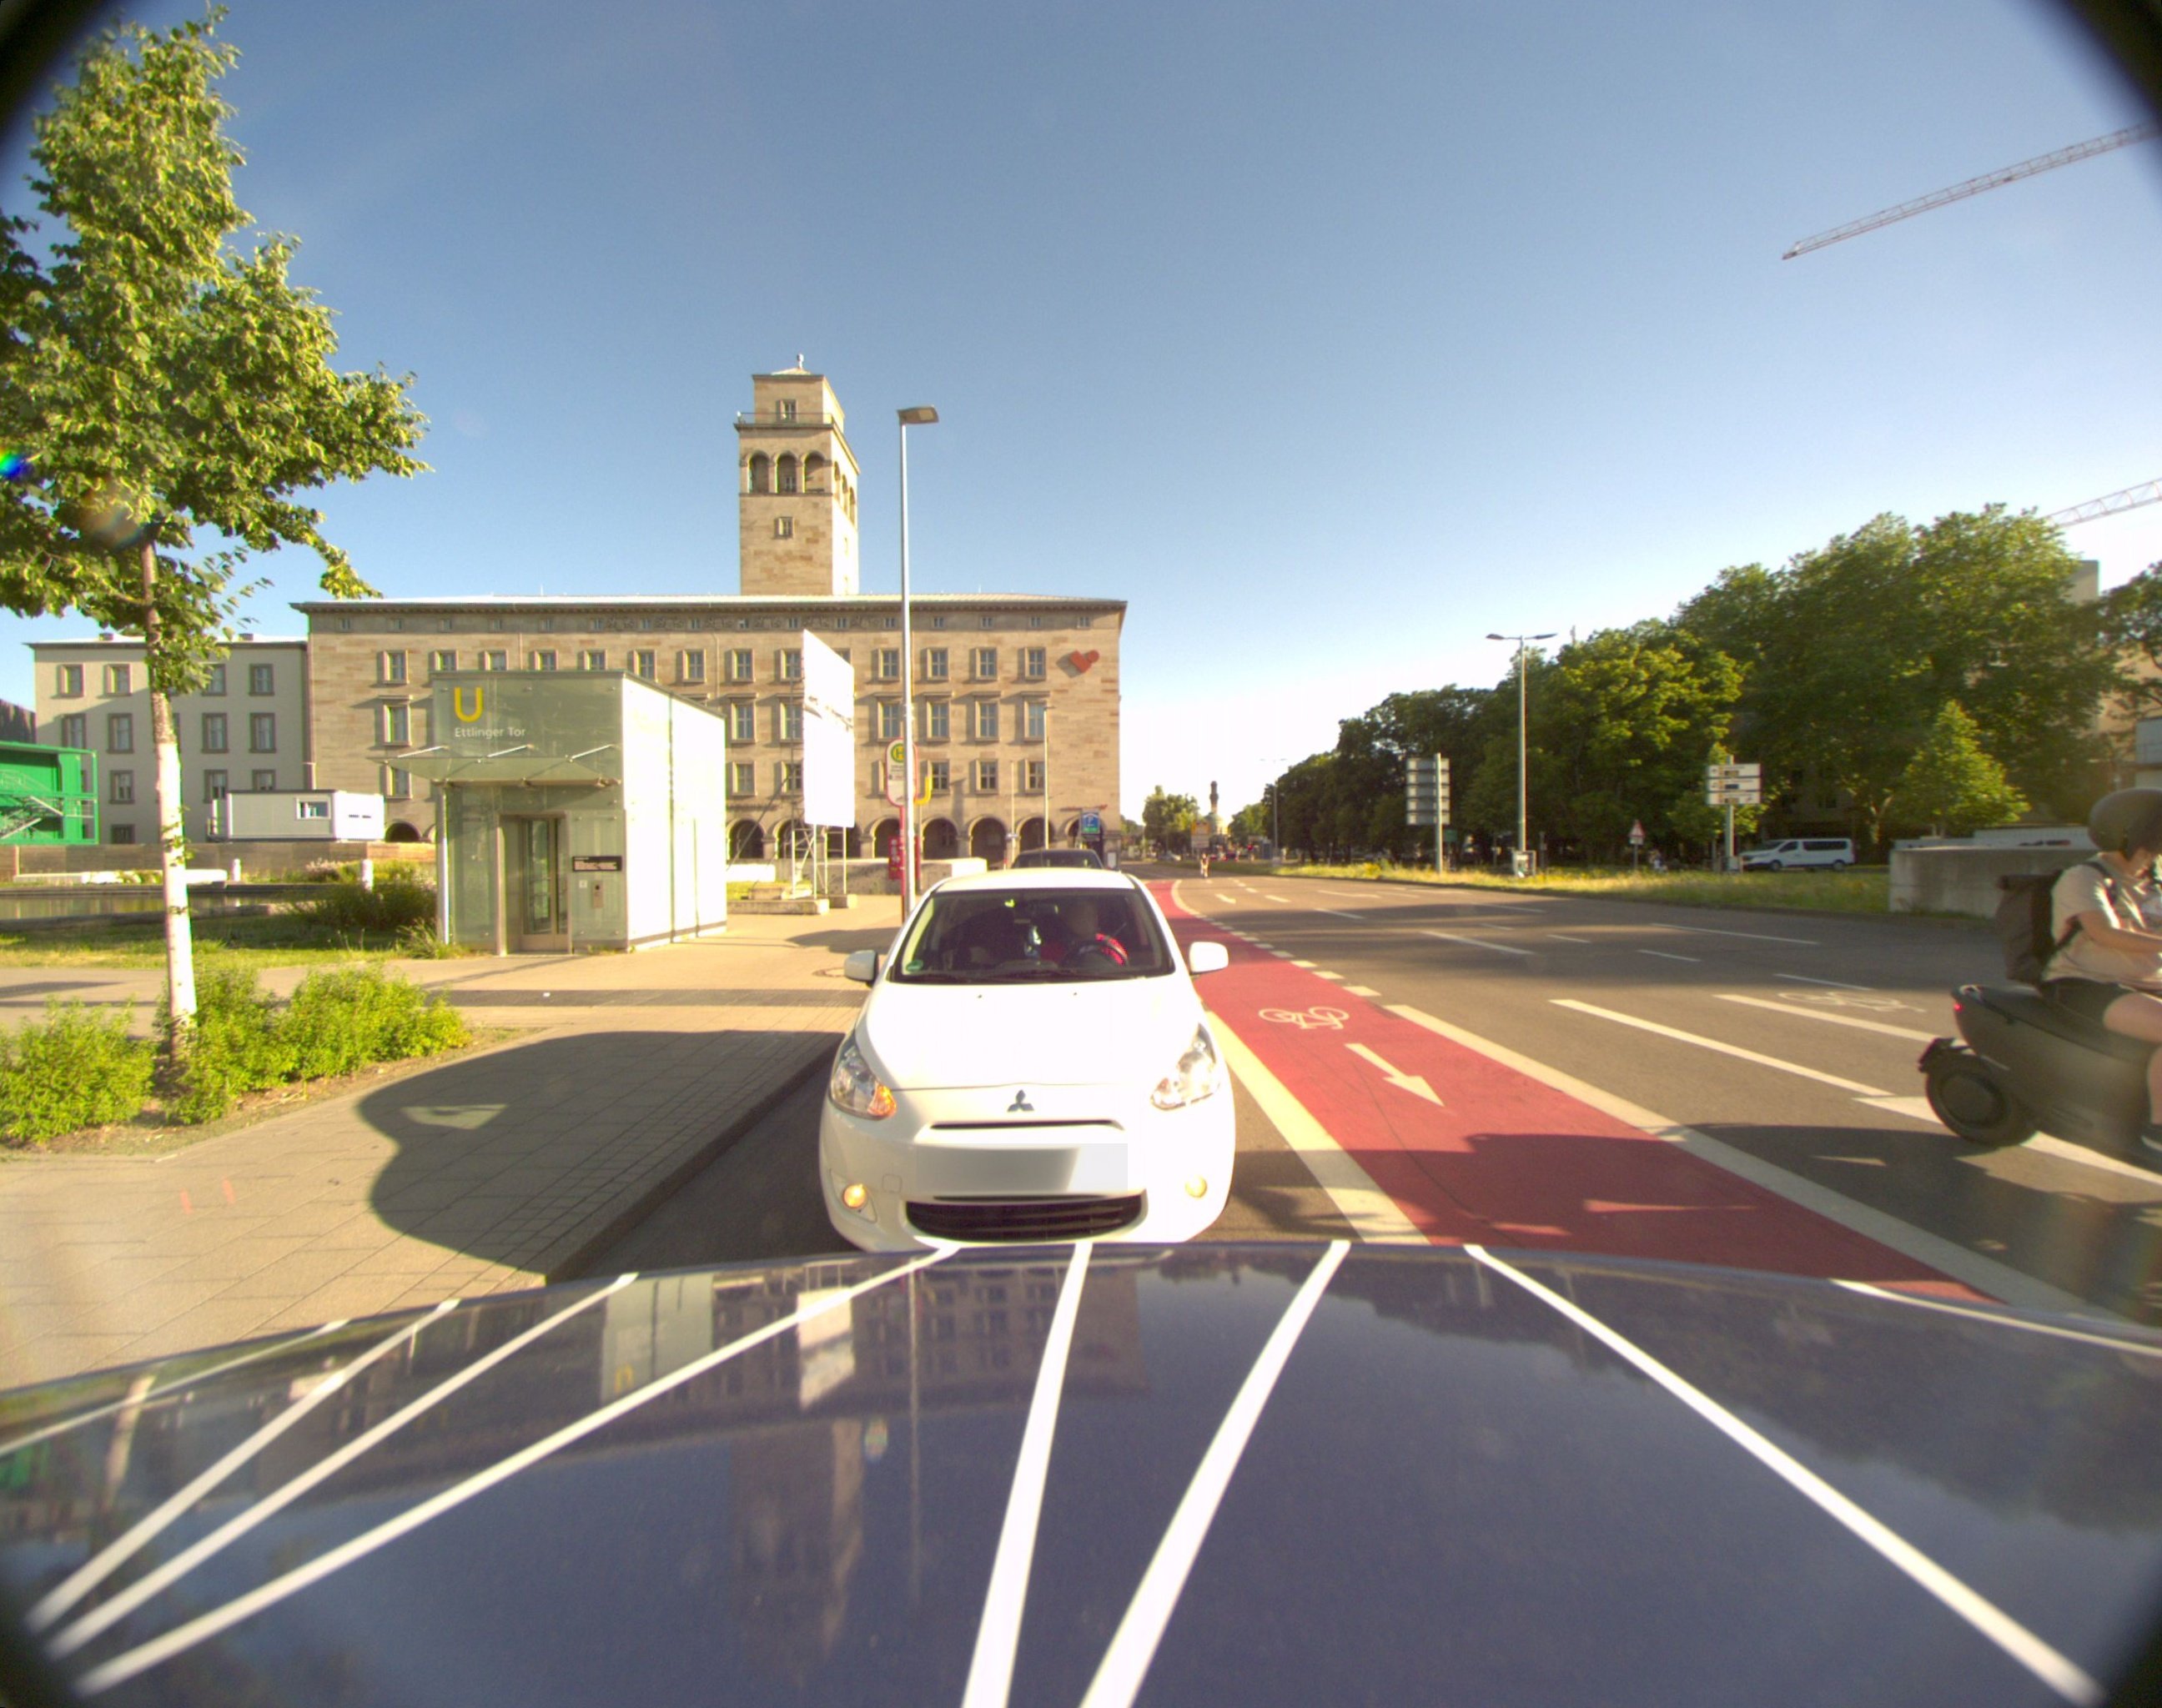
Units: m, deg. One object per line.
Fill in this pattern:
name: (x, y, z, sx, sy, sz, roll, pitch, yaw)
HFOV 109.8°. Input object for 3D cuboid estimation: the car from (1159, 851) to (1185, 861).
car: (17.532, 0.447, 146.365, 4.573, 1.827, 1.881, -2, 1, 42)

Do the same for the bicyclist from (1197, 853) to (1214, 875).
bicyclist: (7.880, 0.625, 48.126, 0.854, 1.340, 0.829, -2, 1, 1)

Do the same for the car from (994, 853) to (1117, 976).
car: (-0.375, 0.839, 12.518, 1.642, 1.653, 3.849, -2, 0, -1)

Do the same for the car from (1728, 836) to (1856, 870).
car: (42.130, -0.054, 45.111, 5.516, 1.924, 2.065, -1, 1, 2)

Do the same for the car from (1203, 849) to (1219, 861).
car: (20.581, 0.108, 120.440, 1.747, 1.778, 3.947, -2, 1, 1)

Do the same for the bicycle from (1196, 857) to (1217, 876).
bicycle: (7.906, 0.759, 47.910, 0.854, 1.109, 2.808, -2, 0, 1)

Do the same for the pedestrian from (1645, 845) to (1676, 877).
pedestrian: (33.625, 0.381, 44.074, 0.989, 1.821, 1.019, -2, 1, -2)

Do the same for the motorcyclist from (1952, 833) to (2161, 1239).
motorcyclist: (4.274, 0.655, 2.938, 0.727, 1.466, 0.917, -2, 0, 1)

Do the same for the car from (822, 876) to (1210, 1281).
car: (-0.235, 0.954, 4.839, 1.496, 1.477, 3.604, -2, 0, 1)

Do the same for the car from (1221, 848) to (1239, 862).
car: (21.587, 0.112, 110.212, 1.819, 1.817, 3.999, -2, 1, 1)

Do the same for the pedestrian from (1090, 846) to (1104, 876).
pedestrian: (1.441, 0.601, 66.626, 1.122, 2.524, 1.055, -2, 1, 1)

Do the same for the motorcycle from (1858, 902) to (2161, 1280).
motorcycle: (4.282, 0.899, 2.885, 0.724, 1.286, 1.884, -2, 0, 1)

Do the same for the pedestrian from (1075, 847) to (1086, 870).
pedestrian: (-0.016, 0.450, 84.779, 1.122, 2.524, 1.055, -2, 1, 1)
